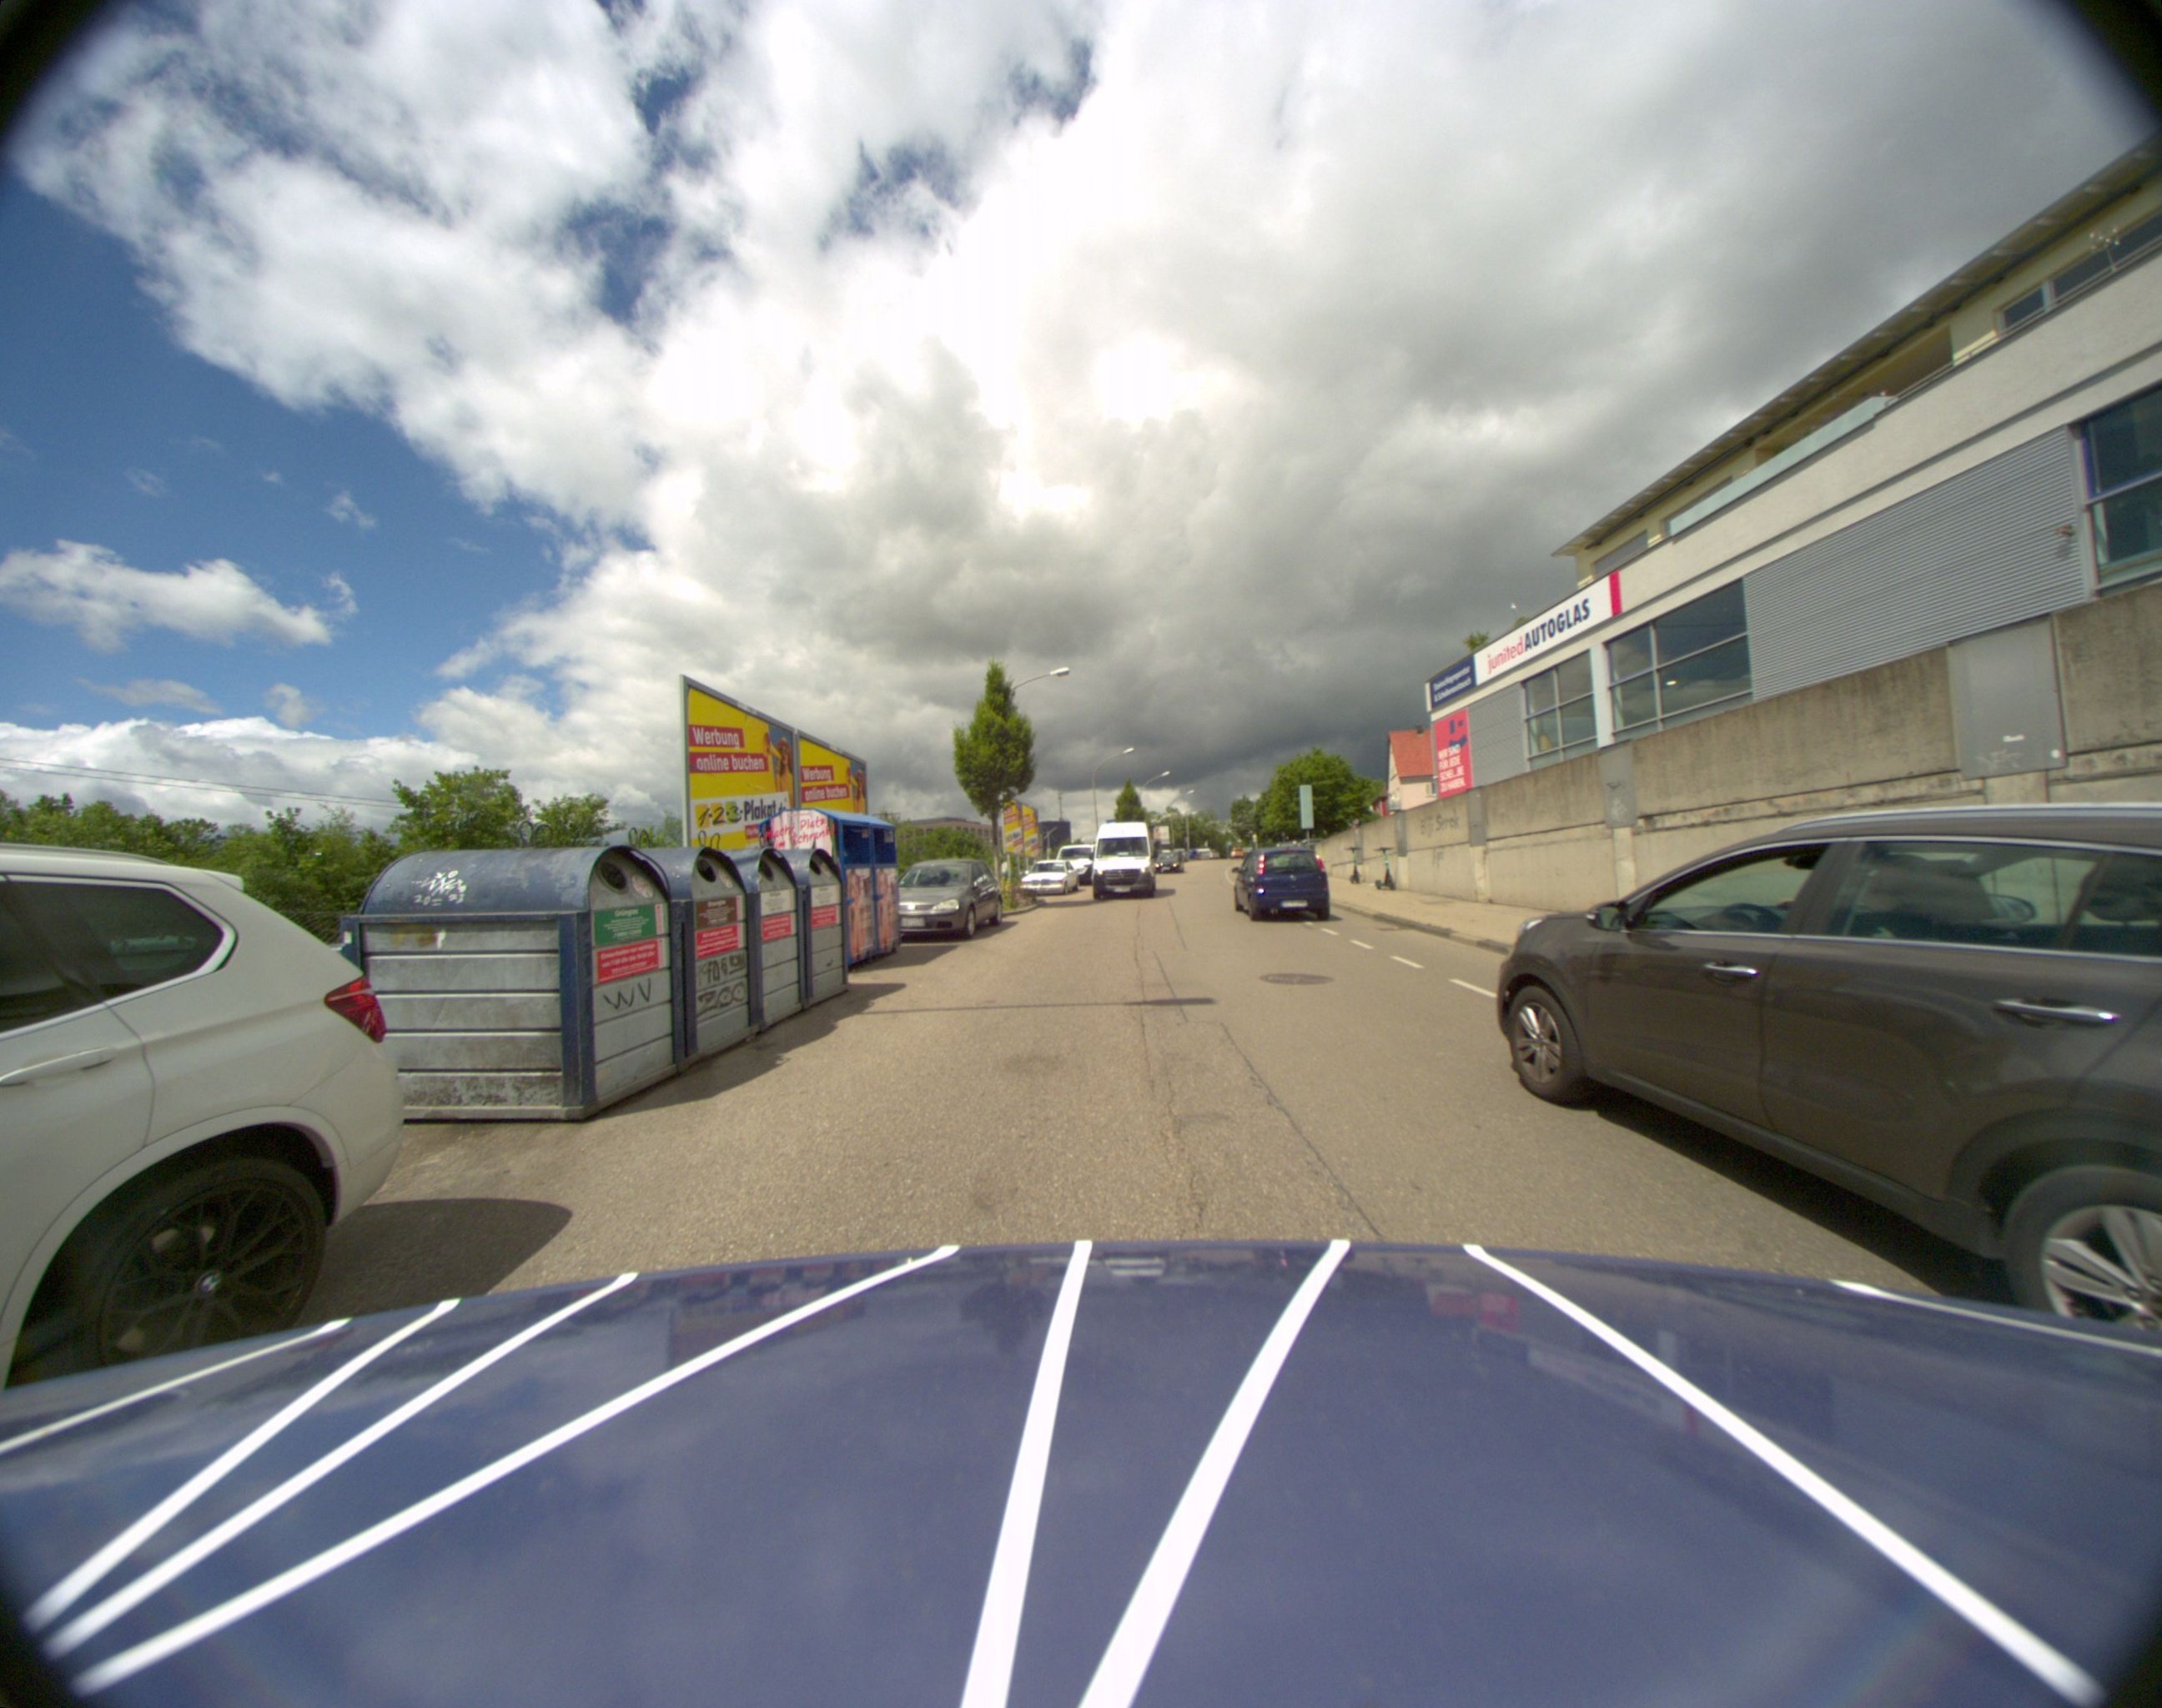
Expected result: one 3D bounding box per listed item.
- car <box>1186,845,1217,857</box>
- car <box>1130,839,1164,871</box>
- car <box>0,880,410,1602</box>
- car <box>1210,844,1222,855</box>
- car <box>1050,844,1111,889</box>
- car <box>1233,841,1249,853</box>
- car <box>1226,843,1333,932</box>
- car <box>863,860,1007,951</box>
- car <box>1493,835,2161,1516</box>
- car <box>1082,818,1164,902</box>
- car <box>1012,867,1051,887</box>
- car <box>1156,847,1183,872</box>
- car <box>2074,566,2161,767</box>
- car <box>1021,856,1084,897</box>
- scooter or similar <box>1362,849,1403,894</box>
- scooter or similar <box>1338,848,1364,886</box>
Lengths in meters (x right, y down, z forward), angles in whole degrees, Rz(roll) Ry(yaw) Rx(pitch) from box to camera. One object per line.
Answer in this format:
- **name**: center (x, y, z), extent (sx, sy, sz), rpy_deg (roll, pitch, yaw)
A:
- **car**: center (22.010, -0.508, 138.754), extent (5.135, 1.958, 1.959), rpy_deg (-3, 1, -19)
- **car**: center (5.948, 0.035, 67.476), extent (2.058, 2.579, 5.740), rpy_deg (-3, 0, 13)
- **car**: center (-3.406, 0.973, 0.618), extent (1.690, 1.650, 4.479), rpy_deg (-2, 1, 0)
- **car**: center (21.149, -0.741, 118.696), extent (1.645, 1.523, 4.225), rpy_deg (-3, 0, 12)
- **car**: center (0.075, 0.553, 38.014), extent (1.978, 1.992, 5.551), rpy_deg (-3, 0, 10)
- **car**: center (21.418, -0.921, 101.658), extent (1.603, 1.482, 3.686), rpy_deg (-3, 1, 18)
- **car**: center (4.484, 0.677, 17.679), extent (1.630, 1.807, 3.780), rpy_deg (-2, 1, 3)
- **car**: center (-2.734, 0.924, 15.182), extent (1.658, 1.477, 4.046), rpy_deg (-1, 1, 6)
- **car**: center (3.496, 0.757, 2.772), extent (1.804, 1.613, 4.092), rpy_deg (-2, 0, 1)
- **car**: center (1.650, 0.147, 27.069), extent (2.081, 2.576, 6.066), rpy_deg (-3, 1, 10)
- **car**: center (-3.879, 1.780, 59.968), extent (1.819, 1.343, 4.559), rpy_deg (-2, 0, 12)
- **car**: center (5.972, 0.329, 51.056), extent (1.584, 1.497, 3.959), rpy_deg (-3, 0, 8)
- **car**: center (10.046, -1.644, 4.933), extent (1.810, 1.627, 4.104), rpy_deg (-3, 1, 0)
- **car**: center (-1.048, 0.842, 30.060), extent (1.640, 1.379, 4.207), rpy_deg (-3, 0, 9)
- **scooter or similar**: center (9.043, 0.499, 22.828), extent (0.520, 1.268, 1.383), rpy_deg (-5, 1, -2)
- **scooter or similar**: center (9.432, 0.440, 26.601), extent (0.558, 1.268, 1.306), rpy_deg (-3, 1, 7)
